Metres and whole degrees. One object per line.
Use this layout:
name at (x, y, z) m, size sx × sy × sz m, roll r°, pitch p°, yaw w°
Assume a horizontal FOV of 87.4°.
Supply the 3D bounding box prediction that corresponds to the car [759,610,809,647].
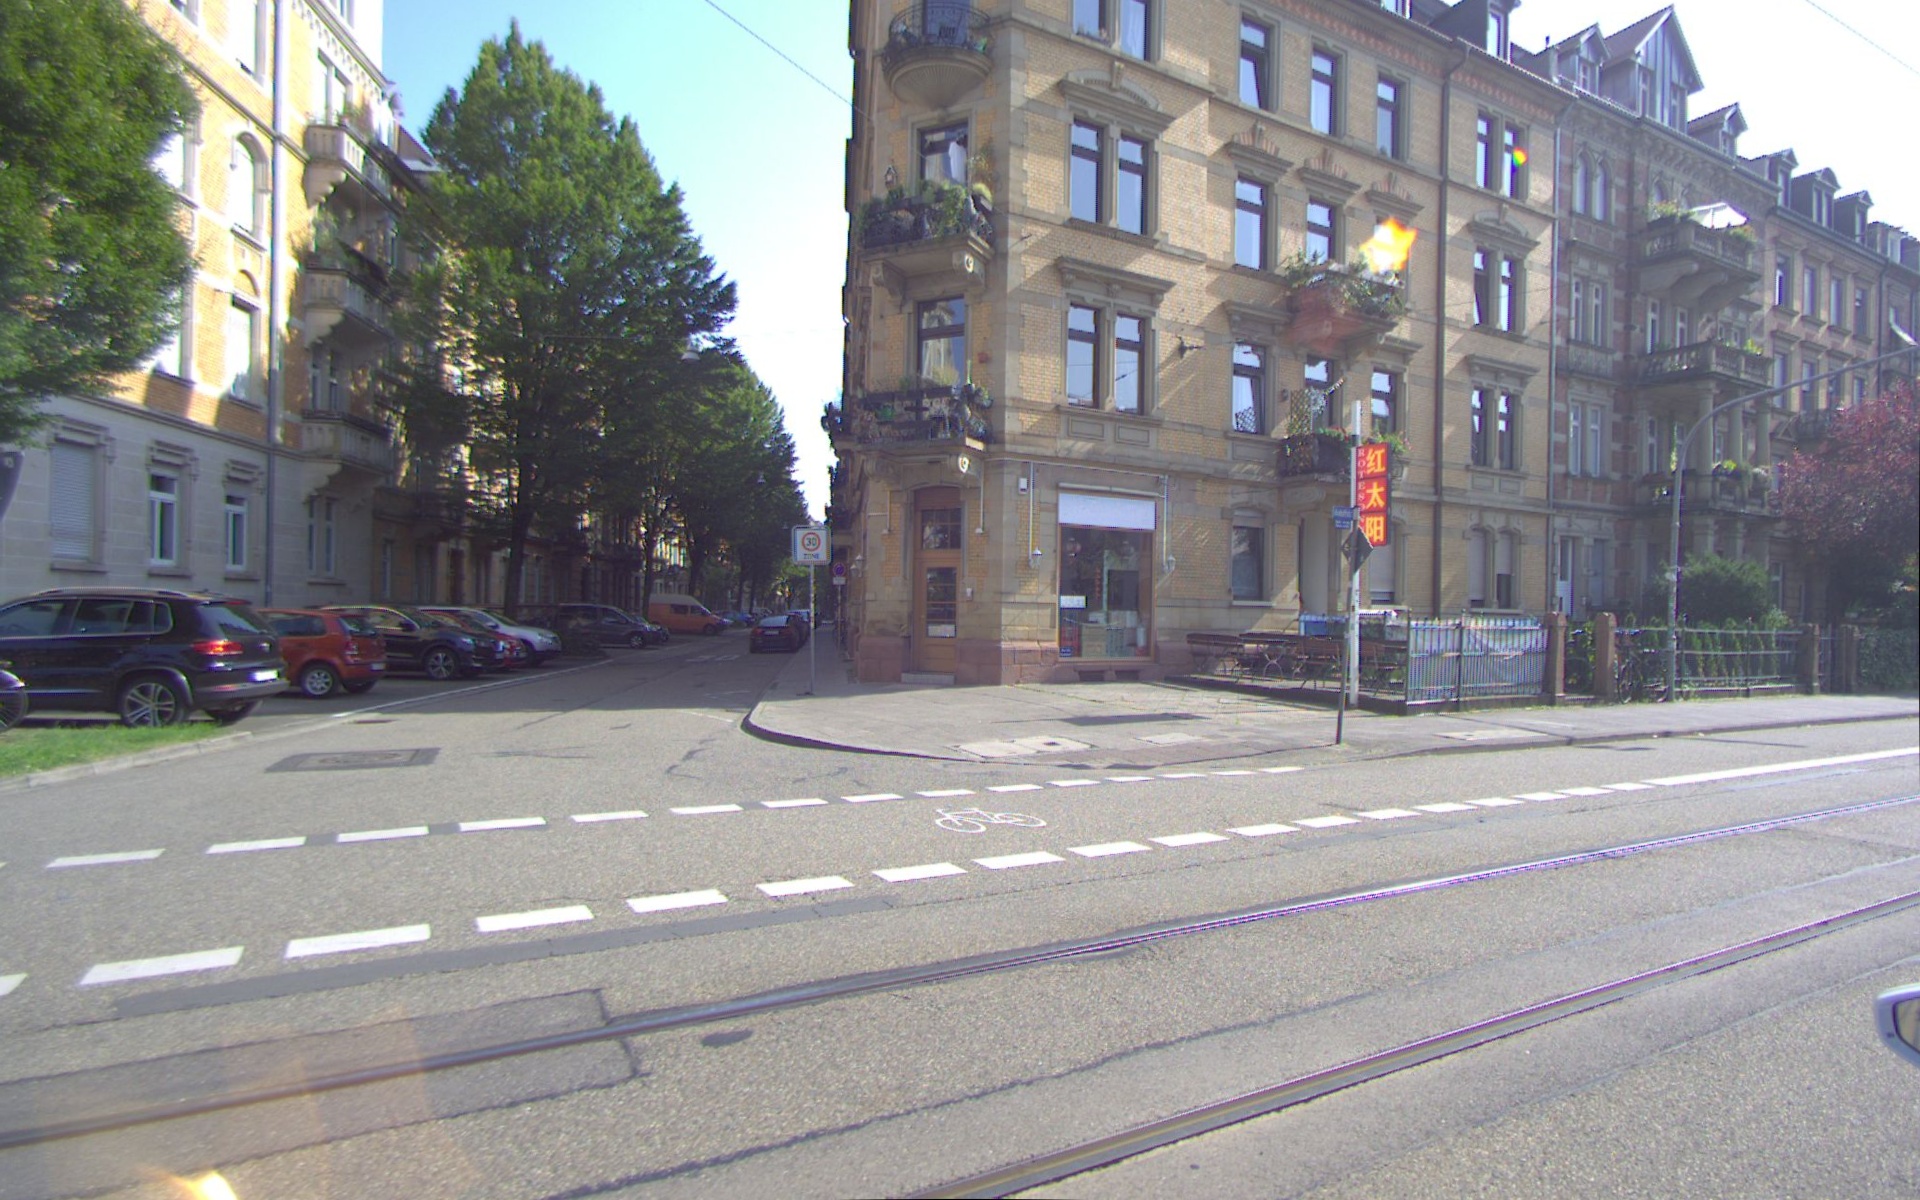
car at (-7.679, 1.237, 44.140) m, size 1.963 × 1.514 × 3.996 m, roll 1°, pitch -1°, yaw -7°

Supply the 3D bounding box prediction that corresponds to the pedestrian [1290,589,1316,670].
pedestrian at (8.122, 0.693, 23.774) m, size 0.541 × 1.874 × 0.580 m, roll 1°, pitch -1°, yaw 22°

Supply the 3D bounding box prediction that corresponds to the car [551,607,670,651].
car at (-14.508, 1.209, 41.916) m, size 4.460 × 1.578 × 1.764 m, roll 3°, pitch -1°, yaw -13°

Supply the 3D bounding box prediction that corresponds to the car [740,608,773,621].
car at (-24.758, 1.798, 122.314) m, size 3.928 × 1.514 × 1.997 m, roll 1°, pitch -1°, yaw -10°

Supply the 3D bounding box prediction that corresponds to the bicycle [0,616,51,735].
bicycle at (-10.851, 0.783, 10.621) m, size 1.744 × 1.245 × 0.541 m, roll 1°, pitch -1°, yaw -16°

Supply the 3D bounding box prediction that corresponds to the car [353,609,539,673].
car at (-12.608, 0.999, 24.875) m, size 3.701 × 1.474 × 1.764 m, roll 1°, pitch -1°, yaw -11°

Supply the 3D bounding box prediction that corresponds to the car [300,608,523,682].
car at (-11.929, 0.979, 22.067) m, size 3.873 × 1.474 × 1.765 m, roll 2°, pitch -1°, yaw -9°

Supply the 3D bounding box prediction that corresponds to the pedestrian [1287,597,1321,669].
pedestrian at (8.278, 0.785, 24.155) m, size 0.576 × 1.689 × 0.545 m, roll 2°, pitch -1°, yaw -40°

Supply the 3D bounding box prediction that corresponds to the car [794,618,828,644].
car at (-9.200, 1.885, 62.299) m, size 1.963 × 1.514 × 3.996 m, roll 1°, pitch -1°, yaw -7°

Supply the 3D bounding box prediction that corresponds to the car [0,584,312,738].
car at (-10.423, 0.703, 12.329) m, size 3.699 × 1.682 × 1.765 m, roll 2°, pitch 1°, yaw -8°

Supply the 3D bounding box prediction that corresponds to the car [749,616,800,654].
car at (-7.180, 1.331, 39.168) m, size 1.710 × 1.387 × 3.996 m, roll 1°, pitch -1°, yaw -7°

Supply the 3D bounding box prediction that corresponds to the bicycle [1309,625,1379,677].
bicycle at (8.416, 1.106, 22.059) m, size 0.412 × 1.074 × 1.475 m, roll 1°, pitch -1°, yaw -31°

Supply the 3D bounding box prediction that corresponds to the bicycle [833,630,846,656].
bicycle at (-4.972, 1.776, 41.646) m, size 0.409 × 1.074 × 1.361 m, roll 1°, pitch -1°, yaw -2°

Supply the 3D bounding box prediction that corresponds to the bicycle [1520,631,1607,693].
bicycle at (11.430, 1.154, 19.062) m, size 0.412 × 1.074 × 1.350 m, roll 1°, pitch 1°, yaw -31°

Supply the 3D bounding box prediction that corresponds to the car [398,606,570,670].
car at (-12.781, 1.019, 27.176) m, size 3.820 × 1.627 × 1.765 m, roll 1°, pitch -1°, yaw -10°

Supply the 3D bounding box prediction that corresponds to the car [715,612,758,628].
car at (-21.436, 1.917, 96.461) m, size 3.928 × 1.514 × 1.997 m, roll 1°, pitch -1°, yaw -10°

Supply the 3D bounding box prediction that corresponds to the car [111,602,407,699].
car at (-11.826, 0.852, 17.205) m, size 3.701 × 1.546 × 1.764 m, roll 1°, pitch -1°, yaw -11°

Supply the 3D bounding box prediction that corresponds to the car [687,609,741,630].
car at (-19.294, 1.538, 78.875) m, size 3.928 × 1.514 × 1.997 m, roll 1°, pitch -1°, yaw -10°

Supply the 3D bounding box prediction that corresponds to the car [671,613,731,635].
car at (-18.394, 1.697, 71.552) m, size 3.927 × 1.514 × 1.997 m, roll 1°, pitch -1°, yaw -8°

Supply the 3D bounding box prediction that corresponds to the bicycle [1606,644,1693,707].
bicycle at (12.811, 1.382, 18.638) m, size 1.979 × 1.122 × 0.506 m, roll 2°, pitch -1°, yaw -29°

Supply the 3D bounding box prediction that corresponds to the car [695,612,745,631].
car at (-19.736, 1.758, 82.743) m, size 3.928 × 1.514 × 1.997 m, roll 1°, pitch -1°, yaw -10°

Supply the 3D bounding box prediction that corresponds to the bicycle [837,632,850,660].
bicycle at (-4.652, 1.811, 40.079) m, size 0.409 × 1.074 × 1.359 m, roll 1°, pitch -1°, yaw -10°

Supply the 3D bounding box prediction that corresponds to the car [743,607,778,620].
car at (-26.532, 1.772, 133.311) m, size 4.460 × 1.578 × 1.764 m, roll 1°, pitch -1°, yaw -13°

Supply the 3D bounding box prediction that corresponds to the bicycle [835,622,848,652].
bicycle at (-4.390, 1.366, 37.130) m, size 0.409 × 1.074 × 1.359 m, roll 1°, pitch -1°, yaw -10°

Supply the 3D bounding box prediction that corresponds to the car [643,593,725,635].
car at (-17.555, 0.907, 64.041) m, size 4.777 × 2.557 × 1.933 m, roll 1°, pitch -1°, yaw -7°

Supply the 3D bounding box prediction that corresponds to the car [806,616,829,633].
car at (-12.882, 2.209, 90.719) m, size 1.963 × 1.514 × 3.996 m, roll 1°, pitch -1°, yaw -7°
